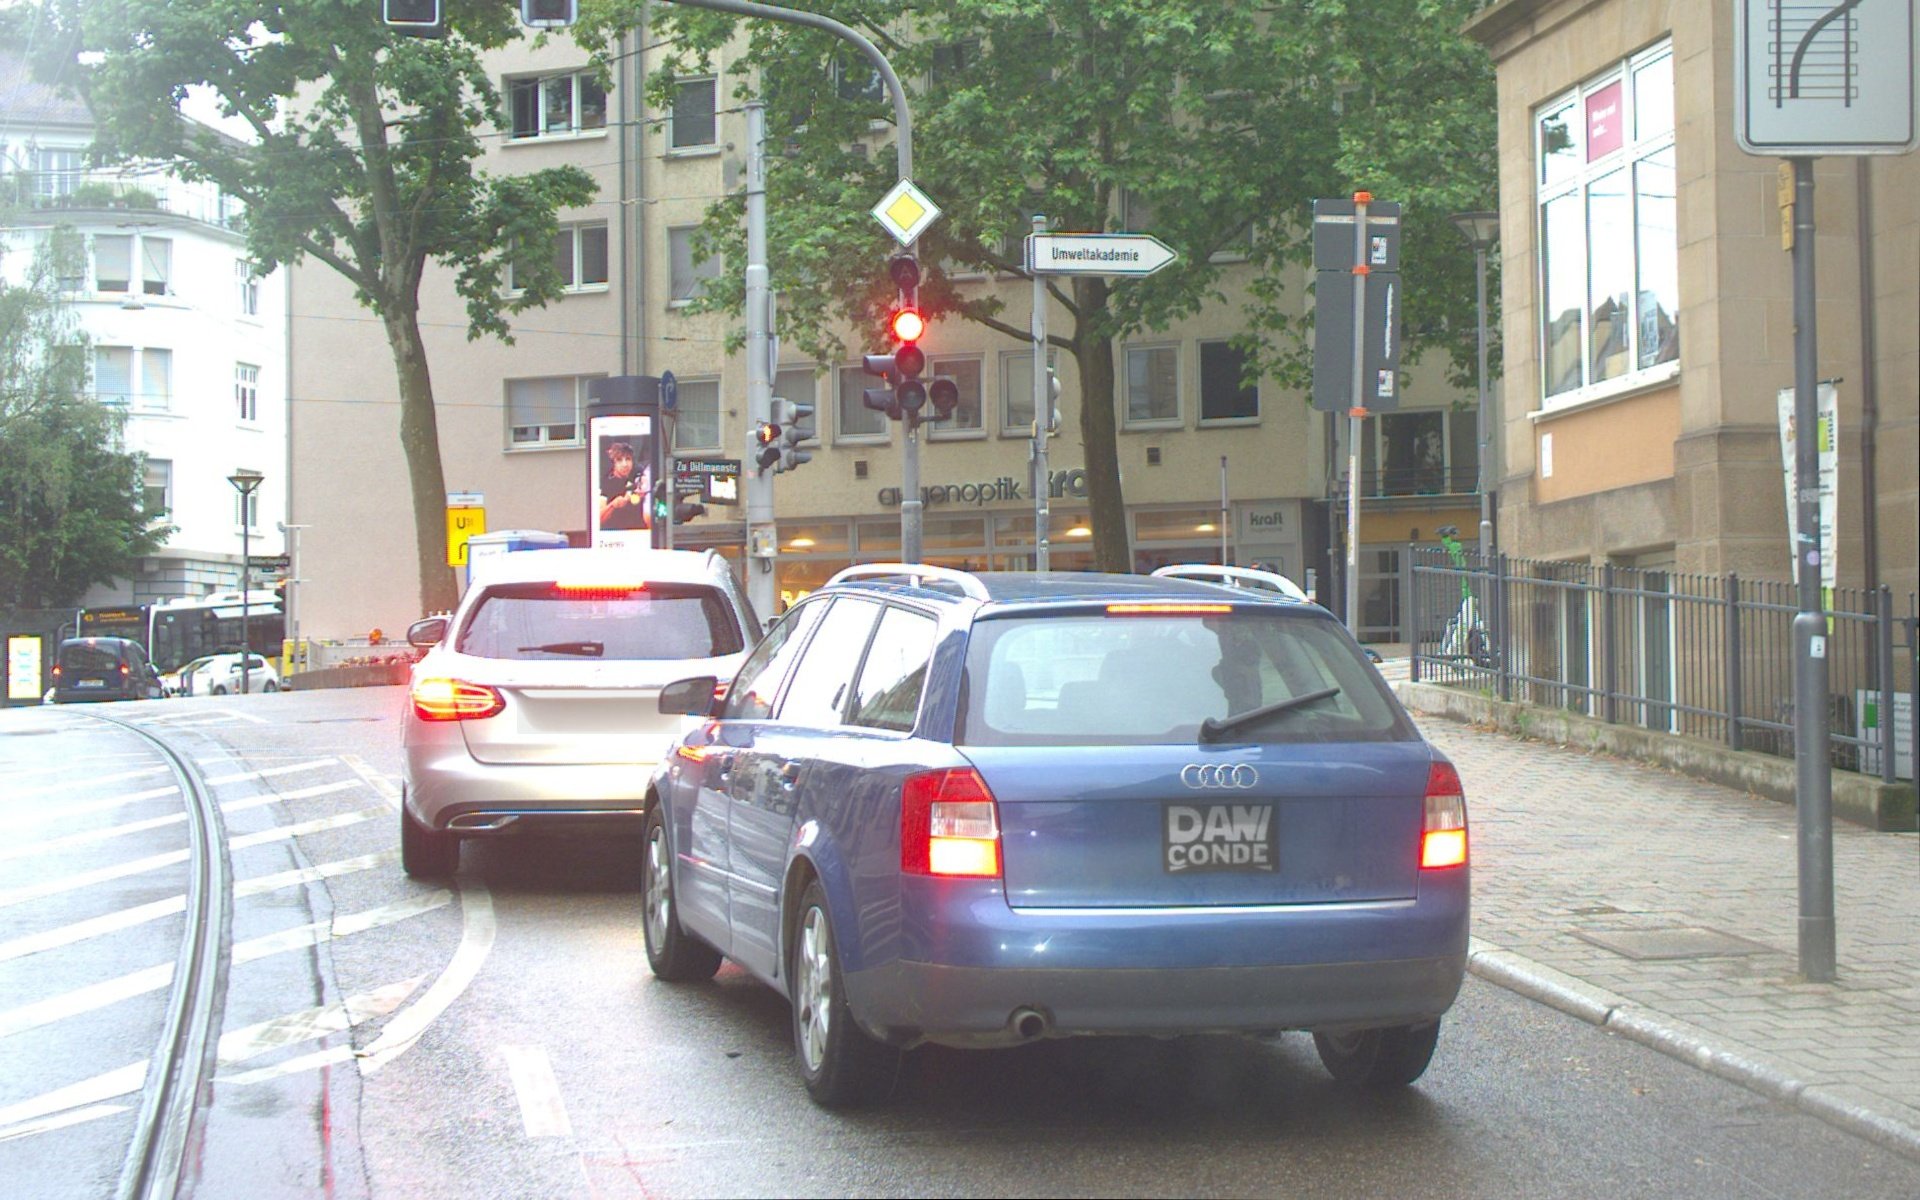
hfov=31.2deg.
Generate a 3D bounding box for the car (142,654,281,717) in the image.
[{"bbox_3d":[-20.025,2.274,92.139,1.796,1.505,3.996,-1,1,19],"label":"car"}]

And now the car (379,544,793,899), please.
[{"bbox_3d":[-1.741,0.481,16.133,1.710,1.451,3.553,0,1,-6],"label":"car"}]

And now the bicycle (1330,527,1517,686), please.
[{"bbox_3d":[3.607,0.043,26.788,1.300,1.169,0.526,-3,1,-10],"label":"bicycle"}]

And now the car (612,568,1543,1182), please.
[{"bbox_3d":[0.118,0.643,10.390,1.710,1.410,4.037,0,1,-15],"label":"car"}]

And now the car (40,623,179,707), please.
[{"bbox_3d":[-17.665,1.321,71.574,1.794,1.505,4.000,-3,1,0],"label":"car"}]

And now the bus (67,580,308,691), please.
[{"bbox_3d":[-21.962,0.951,98.356,2.856,2.851,8.727,-1,1,16],"label":"bus"}]
